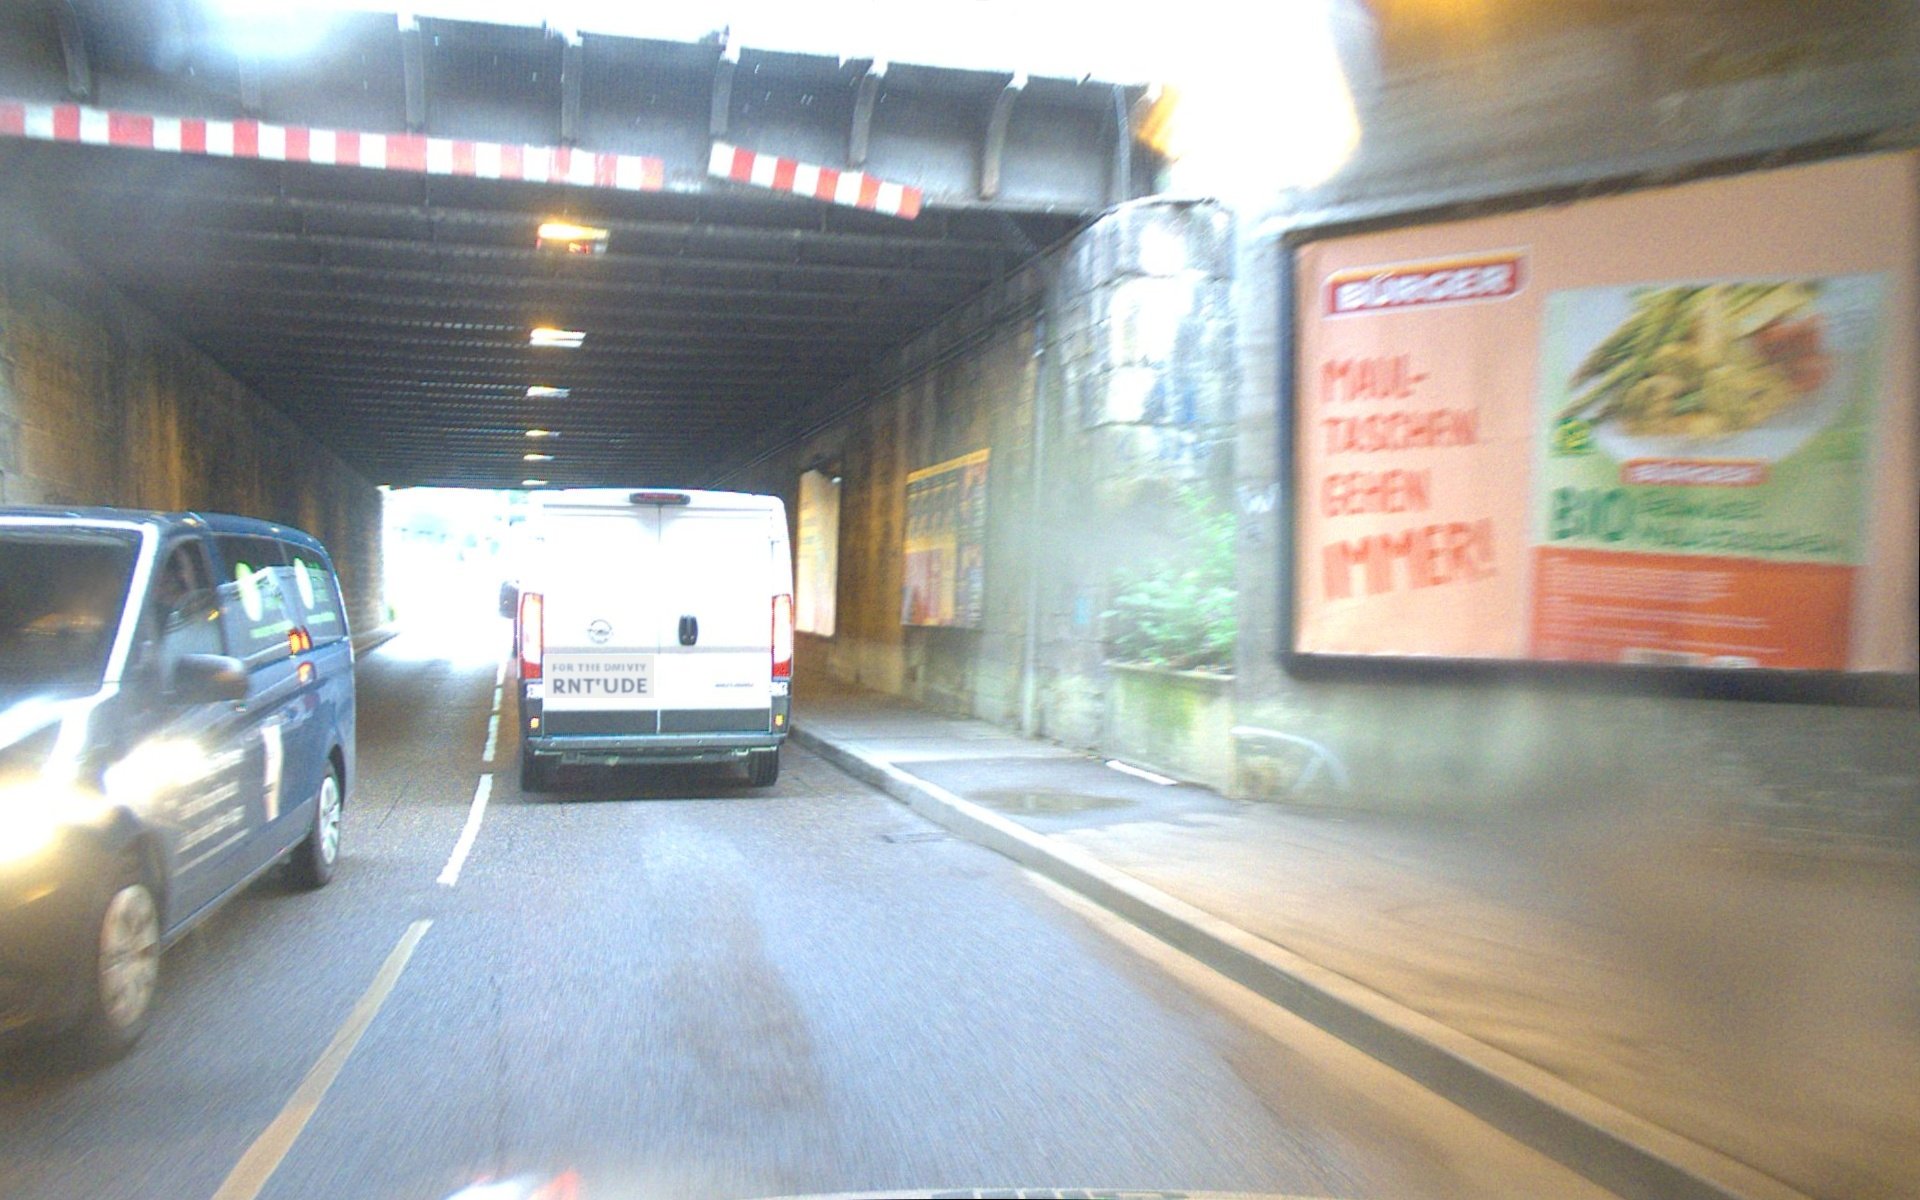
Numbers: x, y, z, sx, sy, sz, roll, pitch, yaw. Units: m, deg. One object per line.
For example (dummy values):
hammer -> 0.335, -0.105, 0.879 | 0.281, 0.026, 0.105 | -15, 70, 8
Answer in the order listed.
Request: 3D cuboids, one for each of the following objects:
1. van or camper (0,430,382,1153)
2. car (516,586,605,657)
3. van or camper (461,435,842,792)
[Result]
van or camper -> -3.820, 0.524, 6.709 | 1.957, 1.901, 5.126 | -1, 0, -10
car -> -8.843, 0.425, 36.712 | 1.804, 1.463, 4.089 | -1, 0, -13
van or camper -> -2.716, 0.132, 14.092 | 2.652, 2.459, 4.885 | 0, -1, -14
